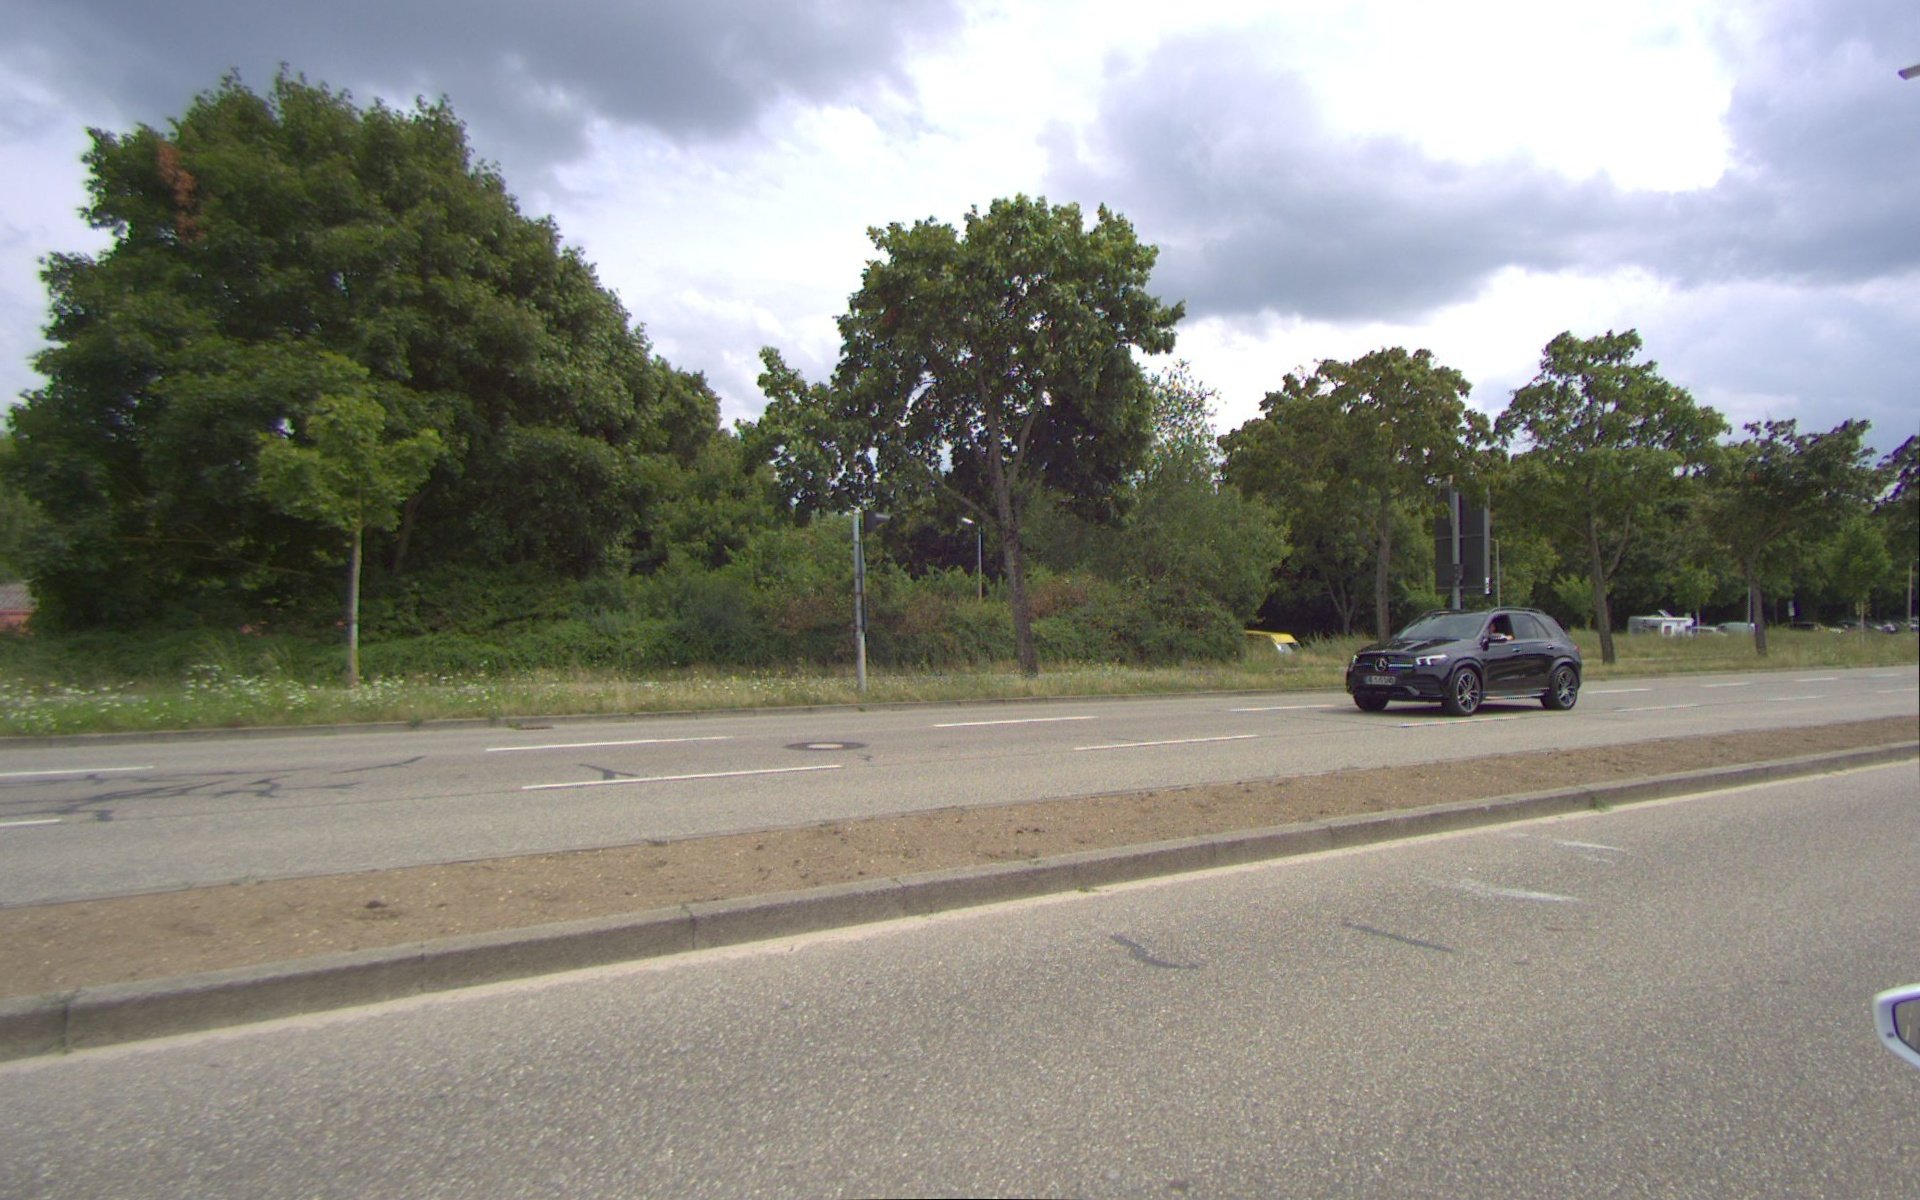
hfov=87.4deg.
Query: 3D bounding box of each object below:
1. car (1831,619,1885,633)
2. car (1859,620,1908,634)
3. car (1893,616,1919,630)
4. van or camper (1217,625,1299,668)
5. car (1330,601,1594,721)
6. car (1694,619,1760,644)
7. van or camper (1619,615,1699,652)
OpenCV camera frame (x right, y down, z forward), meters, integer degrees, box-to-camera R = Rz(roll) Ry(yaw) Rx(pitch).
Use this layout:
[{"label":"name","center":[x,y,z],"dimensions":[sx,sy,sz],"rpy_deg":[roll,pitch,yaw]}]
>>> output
[{"label":"car","center":[95.239,2.761,106.584],"dimensions":[1.647,1.378,3.968],"rpy_deg":[0,0,-30]},{"label":"car","center":[100.159,2.928,108.960],"dimensions":[1.688,1.378,3.628],"rpy_deg":[0,0,-30]},{"label":"car","center":[111.397,2.692,116.984],"dimensions":[1.860,1.539,3.632],"rpy_deg":[0,0,-30]},{"label":"van or camper","center":[16.105,2.483,54.479],"dimensions":[1.971,2.041,4.345],"rpy_deg":[1,1,-22]},{"label":"car","center":[8.905,0.971,17.707],"dimensions":[4.743,1.835,1.983],"rpy_deg":[0,-1,-32]},{"label":"car","center":[62.994,2.536,82.528],"dimensions":[1.918,1.912,3.965],"rpy_deg":[0,0,-32]},{"label":"van or camper","center":[51.669,2.415,74.218],"dimensions":[6.646,2.575,2.458],"rpy_deg":[0,0,-32]}]
